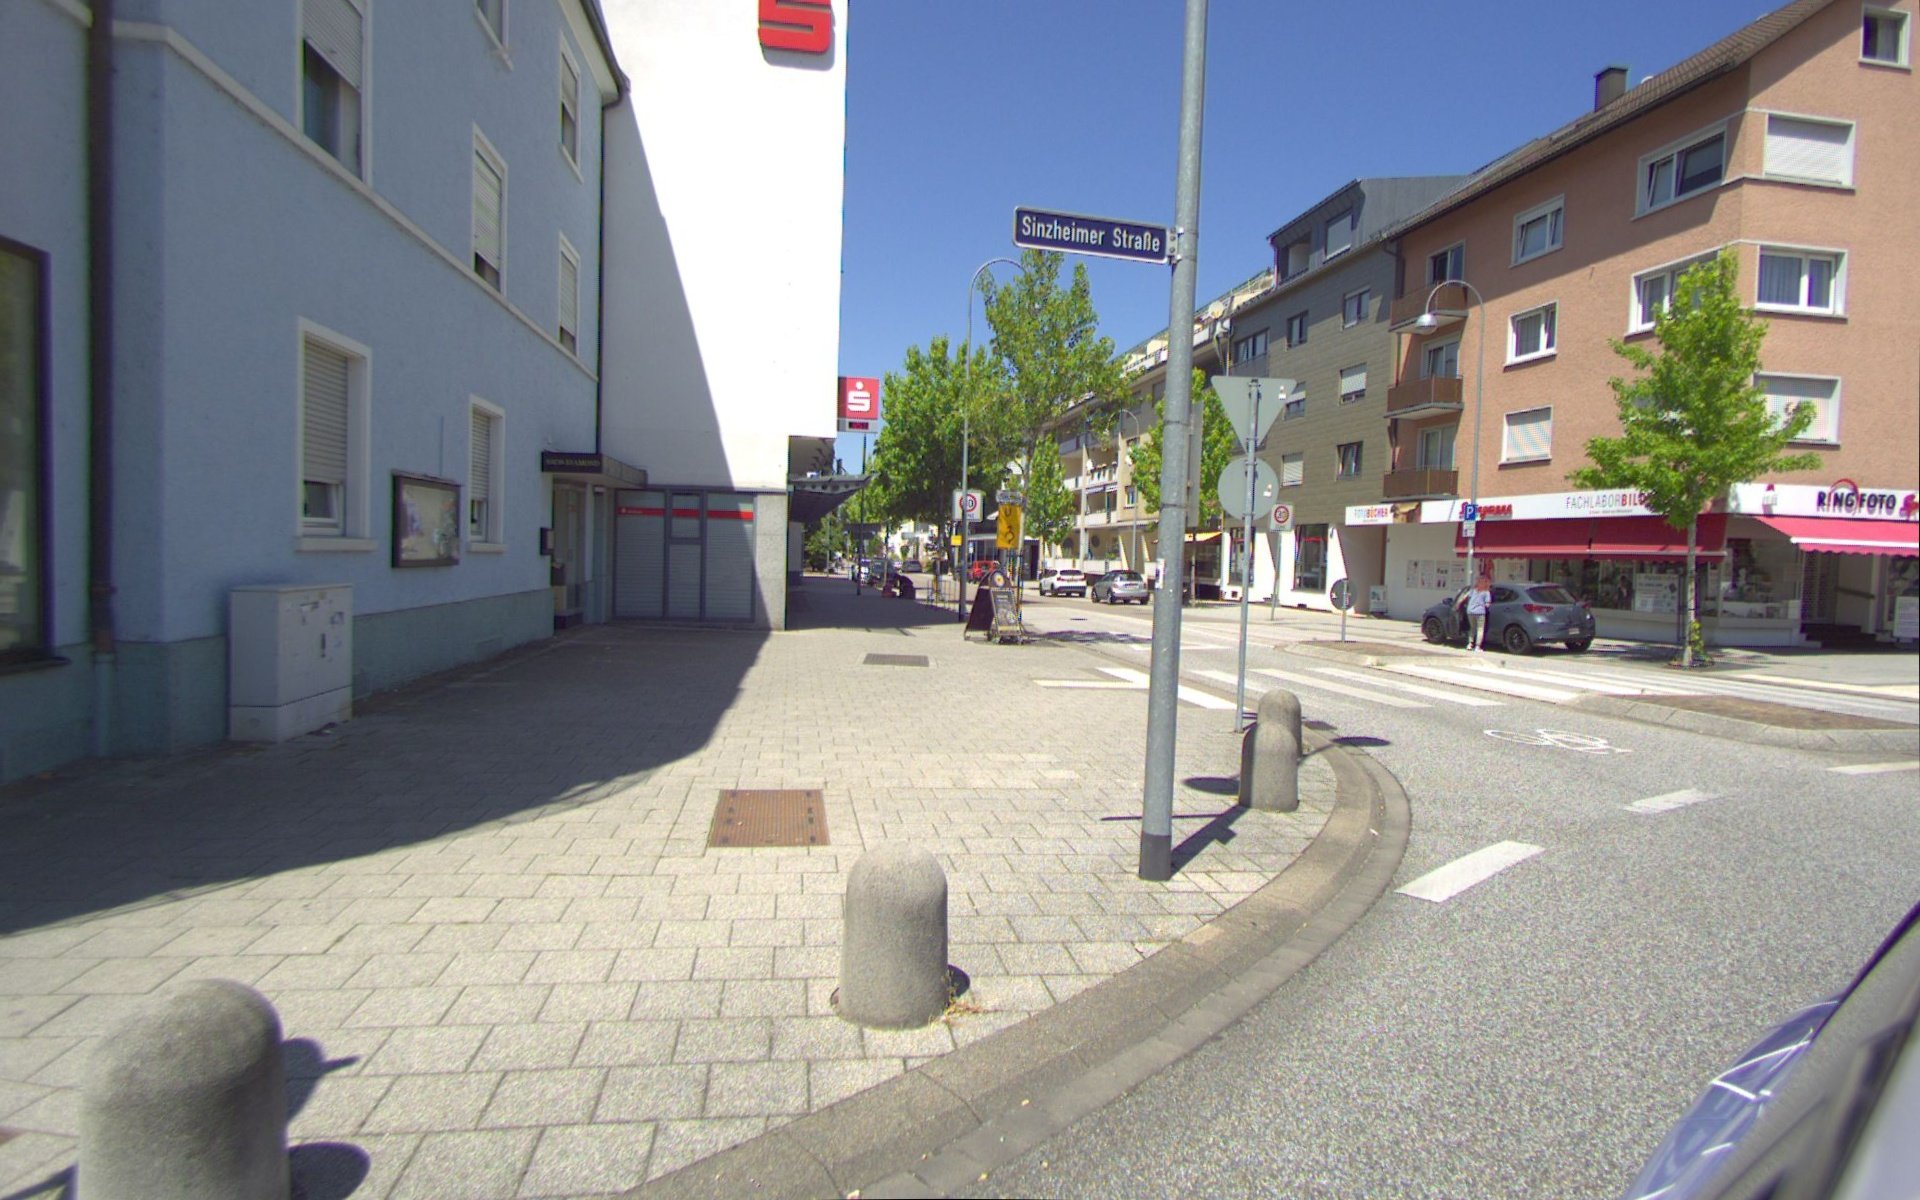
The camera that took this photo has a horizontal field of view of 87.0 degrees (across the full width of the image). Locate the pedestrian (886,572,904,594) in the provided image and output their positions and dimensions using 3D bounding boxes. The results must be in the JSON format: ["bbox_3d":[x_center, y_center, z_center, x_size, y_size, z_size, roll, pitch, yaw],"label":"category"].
[{"bbox_3d":[-2.720,-0.723,42.256,0.667,0.862,0.538,2,2,3],"label":"pedestrian"}]

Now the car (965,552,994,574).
[{"bbox_3d":[1.426,-2.830,76.825,1.612,1.682,3.377,-1,3,-9],"label":"car"}]

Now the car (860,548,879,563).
[{"bbox_3d":[-11.539,-5.641,128.900,1.867,1.775,4.768,2,2,-12],"label":"car"}]

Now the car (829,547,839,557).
[{"bbox_3d":[-30.680,-11.697,246.630,2.187,2.496,5.259,1,2,-9],"label":"car"}]

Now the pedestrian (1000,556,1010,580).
[{"bbox_3d":[3.422,-2.405,76.493,0.657,1.827,0.685,2,2,6],"label":"pedestrian"}]

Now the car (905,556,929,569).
[{"bbox_3d":[-5.005,-4.322,117.592,1.958,1.437,4.010,1,2,-14],"label":"car"}]

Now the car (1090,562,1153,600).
[{"bbox_3d":[6.869,-0.839,43.331,1.593,1.491,3.556,1,2,-9],"label":"car"}]

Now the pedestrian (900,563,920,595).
[{"bbox_3d":[-2.063,-0.871,41.767,0.749,1.255,0.537,2,2,5],"label":"pedestrian"}]

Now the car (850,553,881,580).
[{"bbox_3d":[-6.456,-2.330,68.822,1.658,1.743,4.144,1,2,-12],"label":"car"}]

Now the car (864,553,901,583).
[{"bbox_3d":[-4.883,-2.022,63.456,1.658,1.743,4.009,3,2,-13],"label":"car"}]

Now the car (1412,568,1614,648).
[{"bbox_3d":[12.129,0.104,22.527,1.637,1.504,4.070,-2,3,-13],"label":"car"}]

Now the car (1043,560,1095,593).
[{"bbox_3d":[5.731,-1.281,53.754,1.665,1.611,4.308,1,2,-9],"label":"car"}]

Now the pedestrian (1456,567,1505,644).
[{"bbox_3d":[11.262,0.112,21.911,0.722,1.629,0.558,2,2,9],"label":"pedestrian"}]

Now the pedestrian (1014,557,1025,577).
[{"bbox_3d":[4.512,-2.520,76.834,0.765,1.517,0.697,1,2,2],"label":"pedestrian"}]
